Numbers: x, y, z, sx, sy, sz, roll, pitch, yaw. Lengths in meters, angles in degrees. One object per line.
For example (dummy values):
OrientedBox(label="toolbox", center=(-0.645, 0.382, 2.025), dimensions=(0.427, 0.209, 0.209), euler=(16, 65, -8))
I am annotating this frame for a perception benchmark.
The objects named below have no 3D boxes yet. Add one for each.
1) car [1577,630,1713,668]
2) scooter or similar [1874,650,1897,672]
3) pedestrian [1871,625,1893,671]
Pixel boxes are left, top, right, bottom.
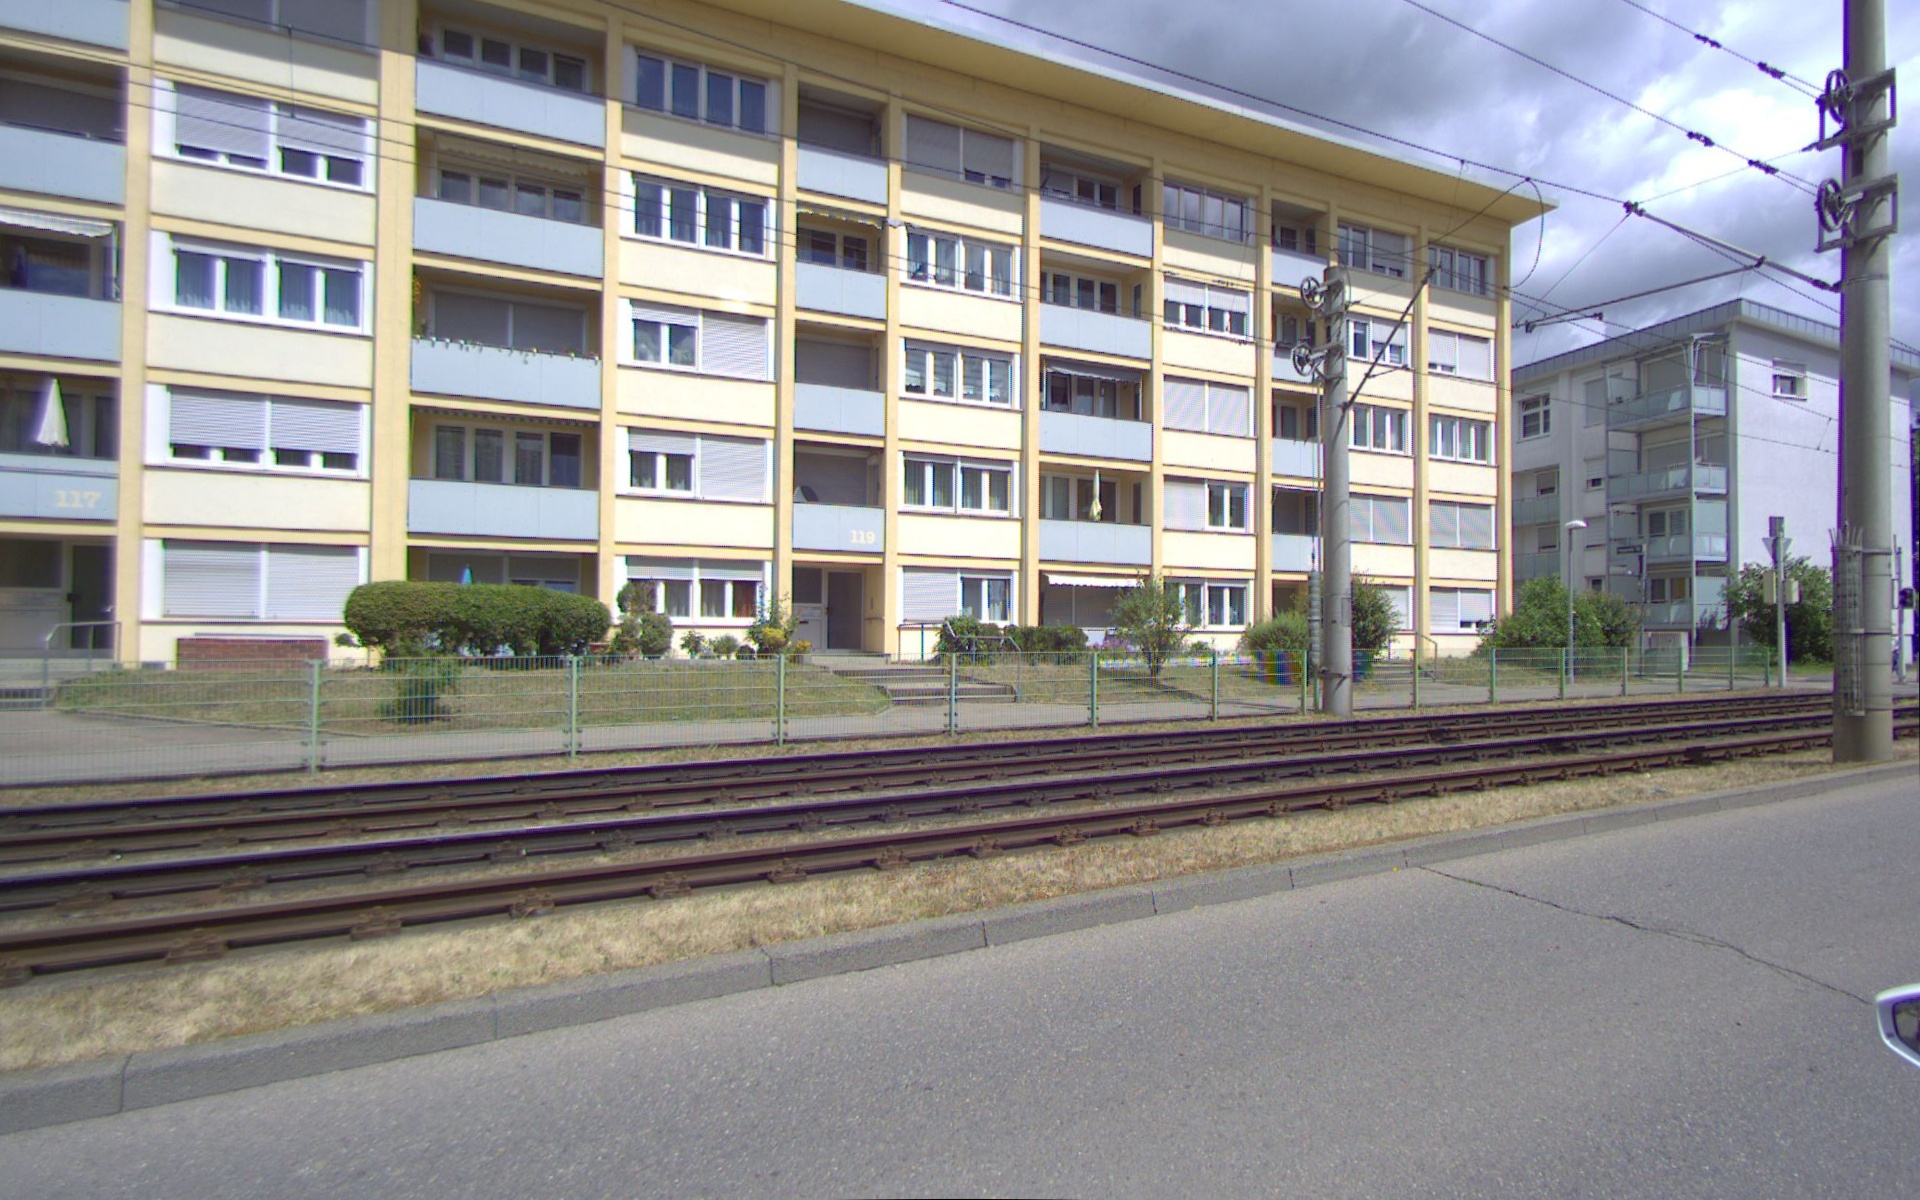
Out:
OrientedBox(label="car", center=(26.341, 1.848, 38.779), dimensions=(1.873, 1.363, 3.980), euler=(1, -2, -21))
OrientedBox(label="scooter or similar", center=(31.883, 2.094, 34.592), dimensions=(0.468, 0.757, 0.436), euler=(1, -1, -25))
OrientedBox(label="pedestrian", center=(32.193, 1.678, 35.073), dimensions=(0.468, 1.601, 0.436), euler=(1, -1, -25))
